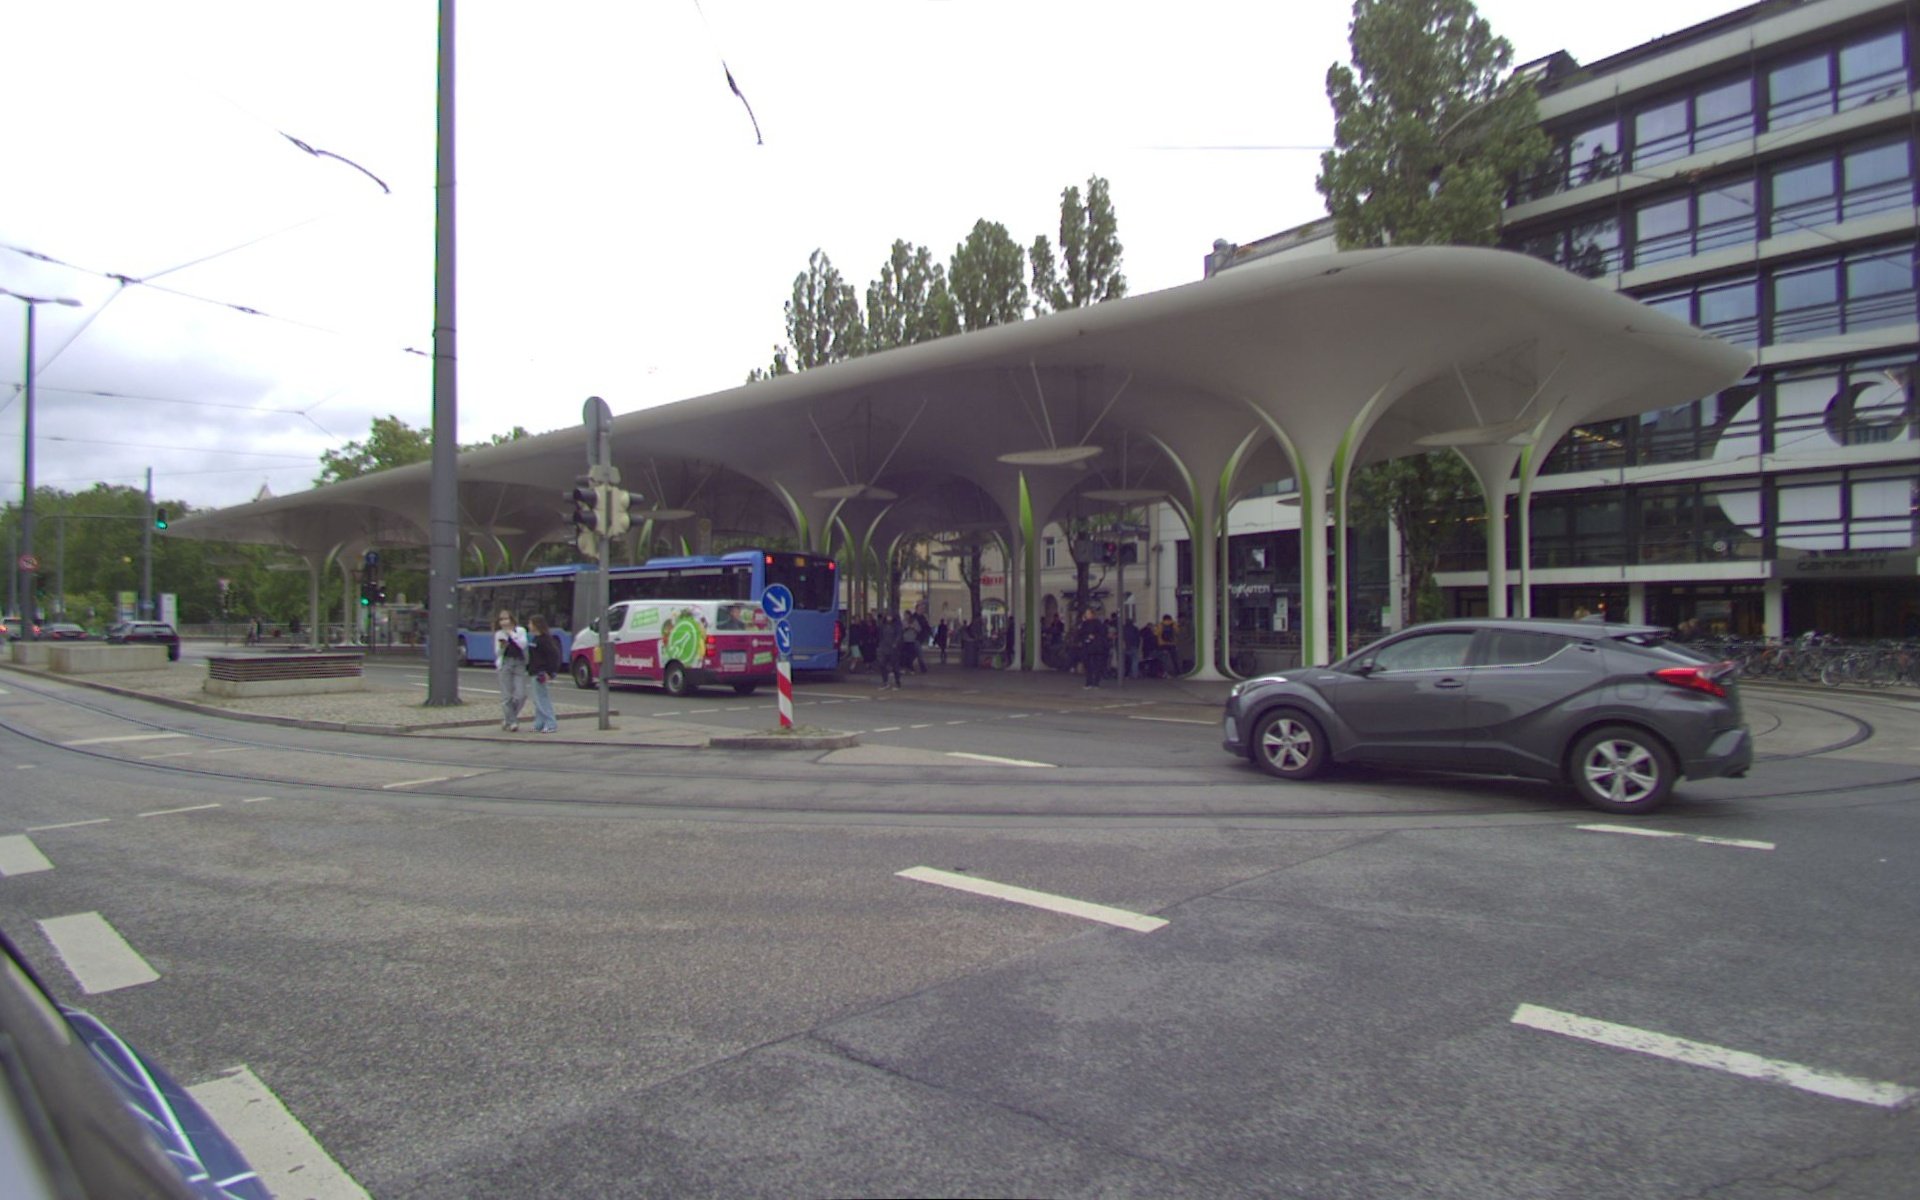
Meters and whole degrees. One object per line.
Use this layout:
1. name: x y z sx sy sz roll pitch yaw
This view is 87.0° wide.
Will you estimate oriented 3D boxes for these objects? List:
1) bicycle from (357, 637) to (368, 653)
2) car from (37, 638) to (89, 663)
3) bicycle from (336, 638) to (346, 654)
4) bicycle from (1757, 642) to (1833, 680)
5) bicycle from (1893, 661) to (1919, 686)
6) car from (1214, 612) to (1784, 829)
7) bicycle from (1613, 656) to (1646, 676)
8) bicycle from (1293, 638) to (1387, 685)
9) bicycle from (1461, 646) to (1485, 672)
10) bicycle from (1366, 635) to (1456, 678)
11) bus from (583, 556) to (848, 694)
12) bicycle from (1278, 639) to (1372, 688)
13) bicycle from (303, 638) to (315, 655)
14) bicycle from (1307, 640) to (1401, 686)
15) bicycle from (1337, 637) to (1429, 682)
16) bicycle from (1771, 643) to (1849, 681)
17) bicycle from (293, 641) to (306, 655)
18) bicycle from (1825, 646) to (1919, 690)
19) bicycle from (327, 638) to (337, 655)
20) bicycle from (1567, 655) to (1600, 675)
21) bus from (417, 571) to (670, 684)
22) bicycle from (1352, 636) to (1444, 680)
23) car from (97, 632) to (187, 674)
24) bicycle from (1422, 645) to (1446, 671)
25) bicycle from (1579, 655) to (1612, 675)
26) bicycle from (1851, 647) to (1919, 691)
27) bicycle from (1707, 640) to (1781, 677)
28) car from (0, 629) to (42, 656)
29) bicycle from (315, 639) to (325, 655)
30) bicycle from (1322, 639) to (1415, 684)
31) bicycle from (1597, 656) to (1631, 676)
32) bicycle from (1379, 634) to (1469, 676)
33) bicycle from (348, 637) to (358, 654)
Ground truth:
1. bicycle: -41.642 3.130 70.560 0.472 1.104 1.854 1 -2 -35
2. car: -54.819 3.056 61.830 4.609 1.389 1.656 -1 -2 40
3. bicycle: -42.749 3.168 69.849 0.472 1.104 1.854 1 -2 -35
4. bicycle: 21.571 1.565 26.155 1.704 0.946 0.456 1 -1 -7
5. bicycle: 27.001 2.084 28.706 1.607 0.637 0.430 1 -2 -35
6. car: 4.633 0.931 9.115 4.277 1.520 1.647 -2 -4 40
7. bicycle: 22.637 2.224 34.205 1.607 0.637 0.364 1 -2 -35
8. bicycle: 9.553 1.530 25.532 0.633 1.133 2.169 1 -2 -40
9. bicycle: 19.438 2.213 38.355 0.449 0.933 1.804 -2 -2 38
10. bicycle: 12.283 1.518 27.641 0.645 1.127 2.186 1 -2 -39
11. bus: -6.383 0.696 25.667 7.509 3.031 2.632 -2 -4 41
12. bicycle: 9.038 1.549 25.124 0.633 1.133 2.169 1 -2 -40
13. bicycle: -44.163 3.131 68.665 0.472 1.104 1.853 1 -2 -38
14. bicycle: 10.065 1.596 25.944 0.645 1.127 2.186 1 -2 -39
15. bicycle: 11.169 1.557 26.769 0.645 1.127 2.186 1 -2 -39
16. bicycle: 21.508 1.568 25.613 1.704 0.946 0.456 1 -1 -7
17. bicycle: -44.593 3.218 68.326 0.473 0.901 1.852 1 -2 -41
18. bicycle: 21.033 1.548 23.244 1.718 0.946 0.452 0 -1 20
19. bicycle: -43.148 3.183 69.517 0.472 1.104 1.854 1 -2 -35
20. bicycle: 21.687 2.255 35.200 1.607 0.637 0.364 1 -2 -35
21. bus: -13.249 0.930 31.494 10.505 3.031 2.633 -2 -4 40
22. bicycle: 11.756 1.536 27.238 0.645 1.127 2.186 1 -2 -39
23. car: -30.334 1.928 37.495 4.031 1.427 1.824 -2 -2 39
24. bicycle: 18.438 2.245 39.369 0.449 0.933 1.804 -2 -2 38
25. bicycle: 21.925 2.247 34.901 1.607 0.637 0.364 1 -2 -35
26. bicycle: 21.187 1.543 22.698 1.719 0.946 0.452 0 -1 22
27. bicycle: 21.174 1.577 27.336 1.704 0.946 0.455 1 -1 -5
28. car: -68.038 3.038 72.725 6.150 1.902 2.154 -2 -2 39
29. bicycle: -43.672 3.201 69.064 0.472 1.104 1.854 1 -2 -35
30. bicycle: 10.604 1.577 26.350 0.645 1.127 2.186 1 -2 -39
31. bicycle: 22.278 2.236 34.444 1.607 0.637 0.364 1 -2 -35
32. bicycle: 12.812 1.499 28.026 0.645 1.127 2.186 1 -2 -39
33. bicycle: -42.137 3.147 70.265 0.472 1.104 1.854 1 -2 -35
